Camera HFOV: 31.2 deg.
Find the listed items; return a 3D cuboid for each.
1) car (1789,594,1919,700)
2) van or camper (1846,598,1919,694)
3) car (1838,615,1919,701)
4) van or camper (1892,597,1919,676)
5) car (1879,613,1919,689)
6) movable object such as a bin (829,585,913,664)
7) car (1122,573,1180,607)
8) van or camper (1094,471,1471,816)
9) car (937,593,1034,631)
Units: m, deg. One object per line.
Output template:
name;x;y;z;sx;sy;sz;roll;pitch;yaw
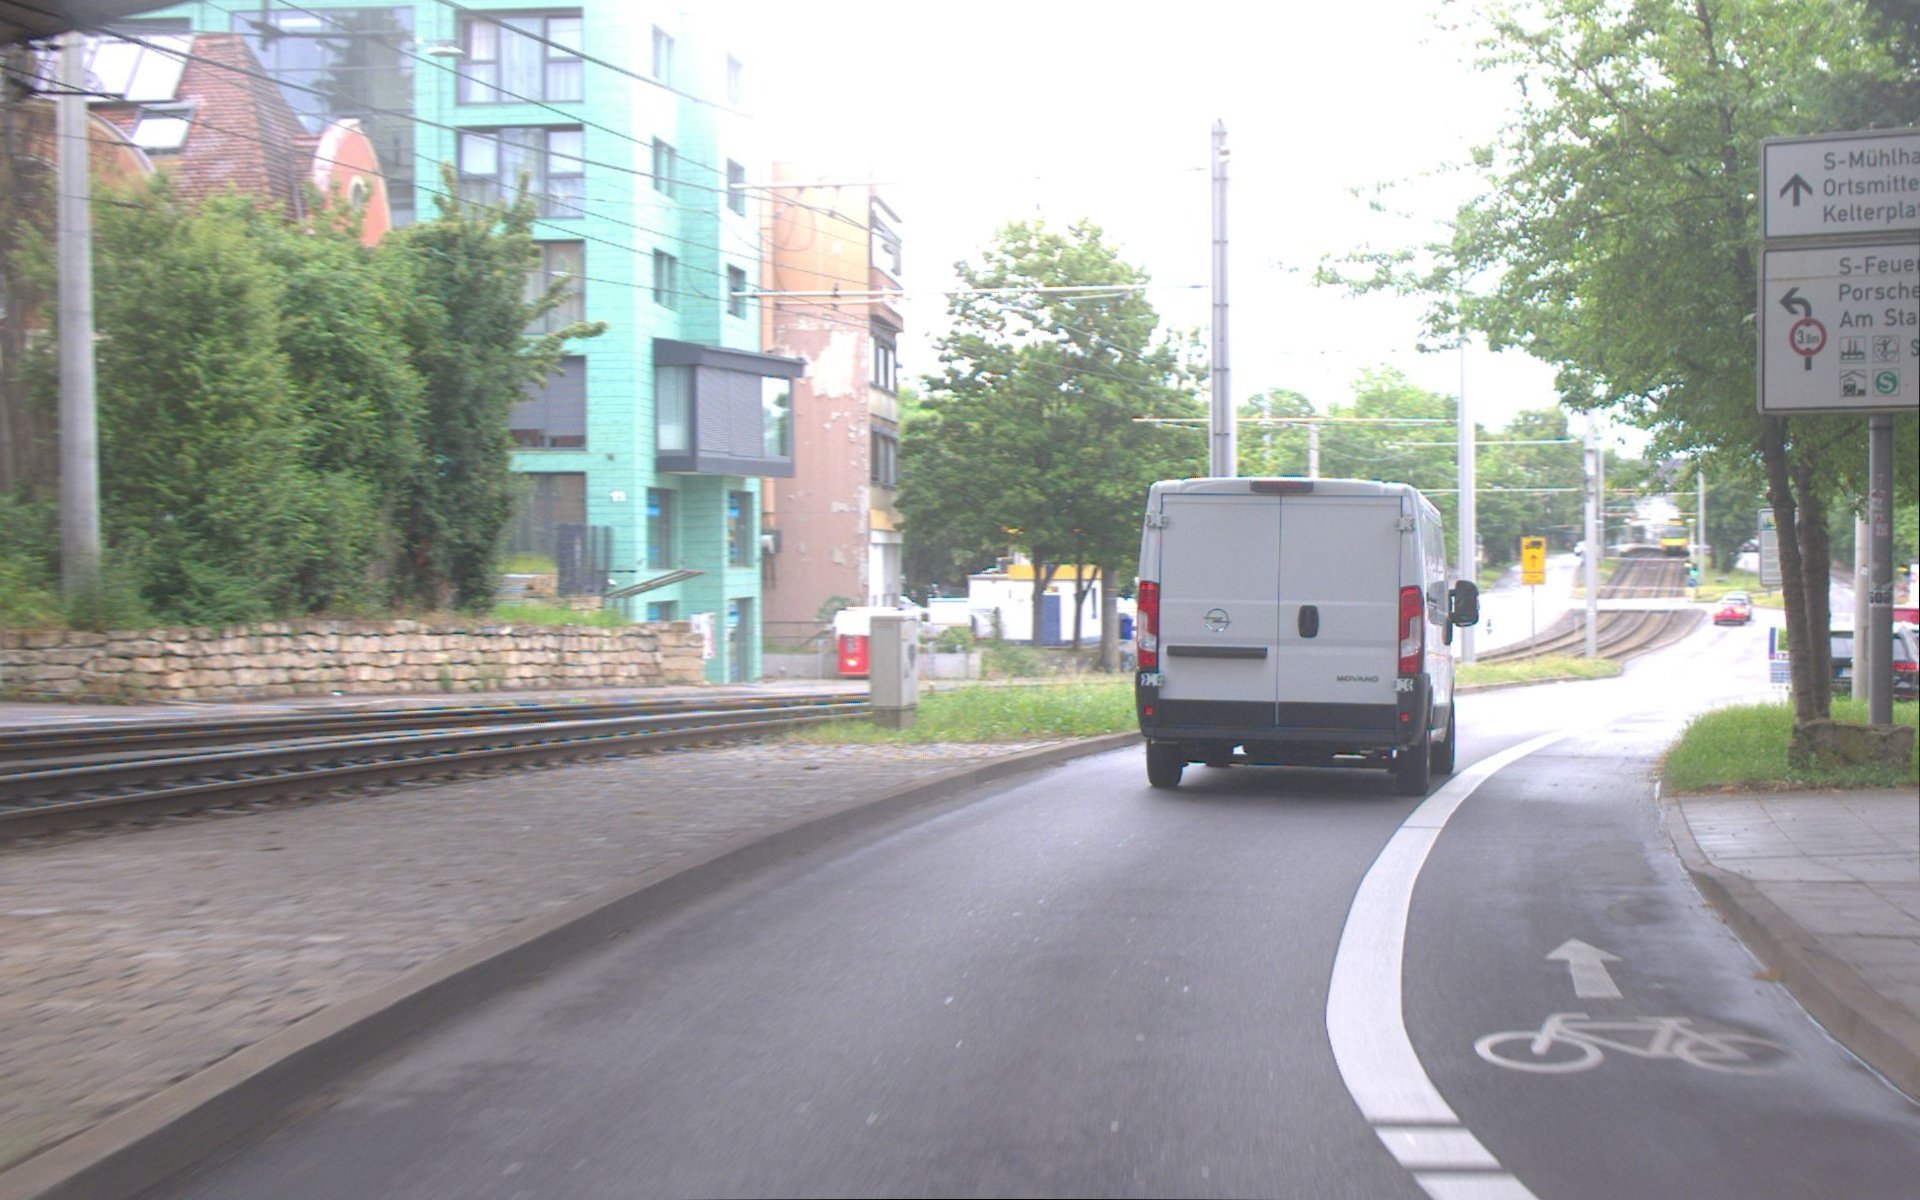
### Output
car;12.915;0.672;49.380;1.678;1.418;4.561;1;0;17
van or camper;19.210;0.940;70.563;1.852;1.914;4.990;0;-1;16
car;16.232;1.032;59.977;1.579;1.447;3.716;0;-2;18
van or camper;32.695;1.219;116.608;1.995;2.555;6.038;2;1;15
car;23.849;1.289;85.516;1.841;1.794;4.683;3;0;15
movable object such as a bin;-2.593;0.698;100.297;2.134;2.149;1.802;2;1;7
car;8.937;-0.465;160.738;1.995;1.437;3.997;2;0;13
van or camper;2.521;0.308;25.632;2.200;2.245;4.681;2;0;12
car;1.058;0.498;142.658;3.763;1.449;1.552;1;1;-10
